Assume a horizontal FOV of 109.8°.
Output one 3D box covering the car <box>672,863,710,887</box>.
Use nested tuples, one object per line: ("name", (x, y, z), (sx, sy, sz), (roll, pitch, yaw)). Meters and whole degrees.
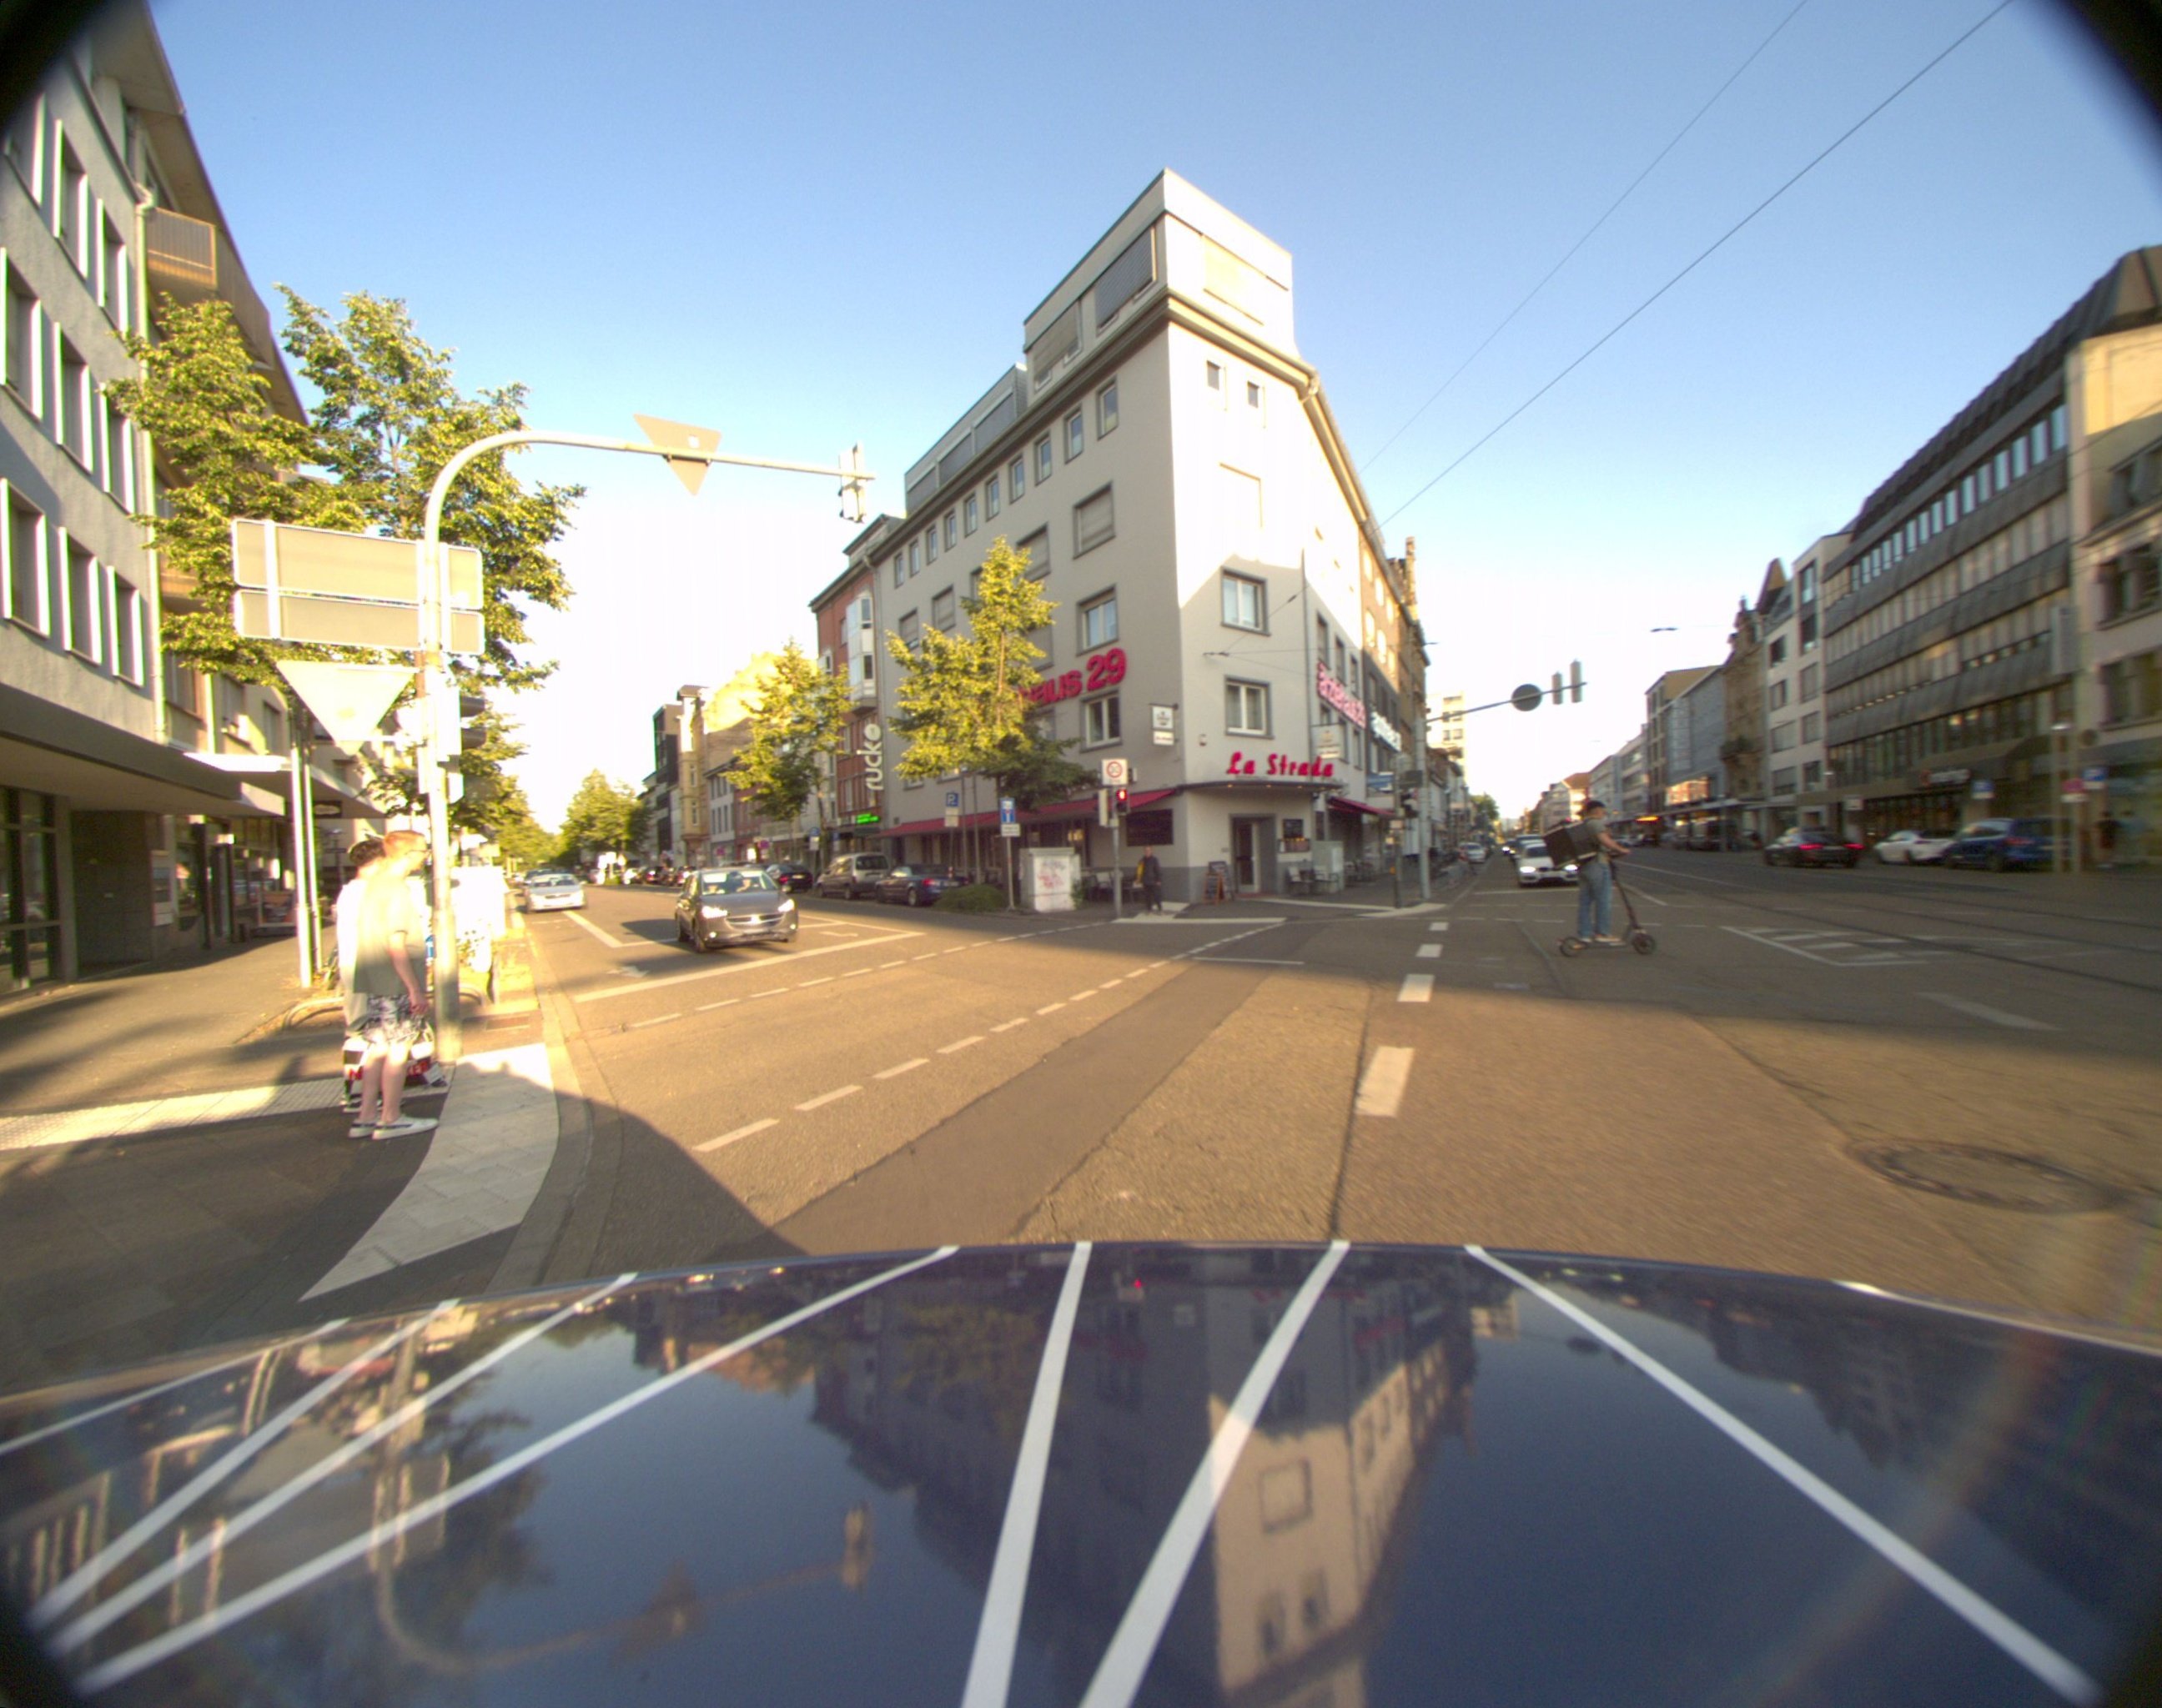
("car", (-30.528, 1.633, 59.390), (1.881, 1.718, 4.129), (-3, 1, -37))

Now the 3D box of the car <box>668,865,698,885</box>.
("car", (-33.386, 1.728, 63.679), (1.690, 1.581, 3.507), (-3, 1, -36))

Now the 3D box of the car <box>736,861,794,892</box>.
("car", (-17.571, 1.215, 42.142), (1.900, 1.590, 4.932), (-1, -1, -35))

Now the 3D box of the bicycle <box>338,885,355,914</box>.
("bicycle", (-30.304, 1.853, 31.366), (0.332, 1.123, 2.007), (-3, 1, -40))

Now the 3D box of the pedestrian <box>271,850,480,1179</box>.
("pedestrian", (-4.141, 0.871, 4.480), (0.748, 1.763, 0.587), (-1, 1, 23))

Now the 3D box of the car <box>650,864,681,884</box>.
("car", (-36.290, 1.715, 66.358), (1.795, 1.505, 3.767), (-3, 3, -37))

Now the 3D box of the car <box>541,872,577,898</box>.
("car", (-35.361, 2.039, 51.416), (1.695, 1.534, 3.721), (-4, 2, -38))

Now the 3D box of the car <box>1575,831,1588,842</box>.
("car", (100.132, -3.513, 152.045), (1.995, 2.002, 4.006), (-2, 2, 30))

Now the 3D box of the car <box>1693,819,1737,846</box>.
("car", (50.028, -1.716, 60.041), (1.995, 2.002, 4.006), (-2, 2, 30))

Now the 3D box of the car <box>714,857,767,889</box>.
("car", (-21.465, 1.205, 47.805), (1.978, 1.873, 4.935), (-2, 0, -37))

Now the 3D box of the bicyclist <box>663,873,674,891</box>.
("bicyclist", (-30.760, 2.069, 56.645), (0.570, 1.295, 0.659), (-5, 3, -38))

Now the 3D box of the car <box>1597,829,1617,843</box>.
("car", (82.221, -2.752, 118.760), (1.995, 2.002, 4.006), (-2, 2, 27))

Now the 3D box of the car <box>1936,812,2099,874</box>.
("car", (30.445, -0.375, 24.901), (1.911, 1.785, 4.136), (-3, 0, 29))

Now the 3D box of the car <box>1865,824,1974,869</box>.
("car", (33.266, -0.291, 30.284), (1.698, 1.614, 4.007), (-2, 0, 29))

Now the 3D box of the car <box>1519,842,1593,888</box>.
("car", (15.826, 0.338, 25.319), (1.911, 1.350, 3.753), (-3, -1, 33))

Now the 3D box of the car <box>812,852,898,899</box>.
("car", (-8.982, 0.796, 29.998), (1.723, 1.654, 3.989), (-4, 2, -40))

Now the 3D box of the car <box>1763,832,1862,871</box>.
("car", (29.643, -0.095, 30.949), (1.891, 1.471, 4.551), (0, 0, 30))

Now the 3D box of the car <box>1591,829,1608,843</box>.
("car", (89.793, -3.109, 131.555), (1.972, 2.181, 4.140), (-2, 2, 29))

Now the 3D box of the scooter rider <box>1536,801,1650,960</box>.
("scooter rider", (6.155, 0.310, 9.184), (0.787, 1.796, 0.814), (-3, 0, 5))

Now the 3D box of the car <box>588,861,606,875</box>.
("car", (-65.715, 1.932, 103.099), (1.770, 1.762, 3.862), (-2, 1, -36))

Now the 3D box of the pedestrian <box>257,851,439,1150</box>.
("pedestrian", (-4.785, 0.878, 4.971), (0.747, 1.763, 0.640), (-1, 1, 33))

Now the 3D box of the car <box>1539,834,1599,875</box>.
("car", (20.546, -0.025, 32.047), (1.995, 1.471, 4.006), (-2, 2, 33))

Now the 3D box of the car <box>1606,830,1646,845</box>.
("car", (66.607, -1.966, 92.923), (1.806, 1.738, 3.834), (-2, 0, -6))

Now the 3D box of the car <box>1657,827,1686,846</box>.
("car", (63.003, -1.875, 81.128), (1.830, 1.906, 4.007), (-1, 1, 29))

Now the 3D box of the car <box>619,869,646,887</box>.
("car", (-44.261, 2.323, 74.910), (1.799, 1.606, 3.962), (-4, 2, -37))

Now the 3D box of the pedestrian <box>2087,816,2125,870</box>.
("pedestrian", (32.302, -0.358, 23.953), (0.508, 1.675, 0.585), (-2, 2, 29))

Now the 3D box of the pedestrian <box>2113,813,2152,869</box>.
("pedestrian", (32.894, -0.408, 23.781), (0.514, 1.724, 0.602), (-2, 3, 30))

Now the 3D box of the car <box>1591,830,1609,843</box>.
("car", (86.304, -2.930, 126.317), (1.970, 2.002, 4.006), (-2, 2, 27))

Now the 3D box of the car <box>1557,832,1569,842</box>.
("car", (109.090, -3.912, 171.947), (1.995, 2.002, 4.006), (-2, 2, 27))

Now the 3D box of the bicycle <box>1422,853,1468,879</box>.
("bicycle", (15.362, 0.496, 32.105), (1.758, 1.065, 0.444), (-1, 3, 24))

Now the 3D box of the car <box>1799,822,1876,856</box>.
("car", (38.808, -0.818, 39.104), (1.816, 1.548, 4.006), (-2, 2, 30))

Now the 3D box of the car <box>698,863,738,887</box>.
("car", (-25.176, 1.454, 52.643), (1.740, 1.516, 3.832), (-2, 0, -37))

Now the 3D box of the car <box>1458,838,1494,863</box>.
("car", (26.901, -0.264, 51.725), (2.038, 1.550, 4.394), (-2, 0, 29))

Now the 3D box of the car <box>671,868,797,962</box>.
("car", (-6.666, 1.034, 14.387), (1.590, 1.445, 3.833), (-3, 1, -33))

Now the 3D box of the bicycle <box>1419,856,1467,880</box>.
("bicycle", (14.700, 0.579, 30.864), (1.758, 0.944, 0.444), (-1, 3, 24))

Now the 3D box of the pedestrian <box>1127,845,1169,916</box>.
("pedestrian", (1.581, 0.616, 17.899), (0.798, 1.646, 0.587), (-1, 1, 26))

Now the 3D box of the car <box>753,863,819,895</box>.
("car", (-14.611, 1.183, 37.495), (1.808, 1.385, 4.406), (-3, 1, -38))

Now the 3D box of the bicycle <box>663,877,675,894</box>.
("bicycle", (-30.752, 2.350, 56.657), (0.421, 1.230, 1.690), (-5, 3, -39))

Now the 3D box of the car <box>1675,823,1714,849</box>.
("car", (53.234, -1.554, 66.002), (1.995, 2.047, 4.007), (-1, 1, 30))

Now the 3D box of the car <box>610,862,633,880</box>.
("car", (-49.035, 1.812, 81.047), (1.770, 1.762, 3.862), (-2, 1, -36))

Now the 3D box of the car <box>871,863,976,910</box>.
("car", (-5.261, 0.994, 25.012), (1.657, 1.345, 4.300), (-2, 1, -38))

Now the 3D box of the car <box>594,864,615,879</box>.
("car", (-60.028, 2.207, 95.691), (1.791, 1.762, 3.862), (-2, 1, -36))

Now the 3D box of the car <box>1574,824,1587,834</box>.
("car", (110.041, -5.496, 167.313), (1.995, 2.002, 4.006), (-2, 2, 27))

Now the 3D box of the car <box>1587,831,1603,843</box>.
("car", (92.948, -3.162, 137.424), (1.957, 2.002, 4.006), (-2, 2, 27))

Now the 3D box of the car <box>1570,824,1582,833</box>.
("car", (112.276, -5.780, 172.365), (1.995, 2.002, 4.006), (-2, 2, 27))

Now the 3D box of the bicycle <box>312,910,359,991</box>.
("bicycle", (-10.593, 1.339, 10.816), (0.405, 1.004, 1.666), (0, -1, -42))

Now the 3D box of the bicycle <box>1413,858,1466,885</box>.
("bicycle", (13.944, 0.676, 29.595), (1.824, 1.025, 0.444), (0, 1, 24))

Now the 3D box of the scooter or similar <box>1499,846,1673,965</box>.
("scooter or similar", (6.064, 0.610, 9.185), (1.667, 1.343, 0.546), (-2, 1, 5))

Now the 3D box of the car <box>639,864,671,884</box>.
("car", (-39.212, 1.796, 69.899), (1.885, 1.667, 4.026), (-4, 2, -37))

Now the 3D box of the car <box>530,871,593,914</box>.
("car", (-19.971, 1.402, 29.143), (1.794, 1.362, 4.561), (-4, 2, -36))
